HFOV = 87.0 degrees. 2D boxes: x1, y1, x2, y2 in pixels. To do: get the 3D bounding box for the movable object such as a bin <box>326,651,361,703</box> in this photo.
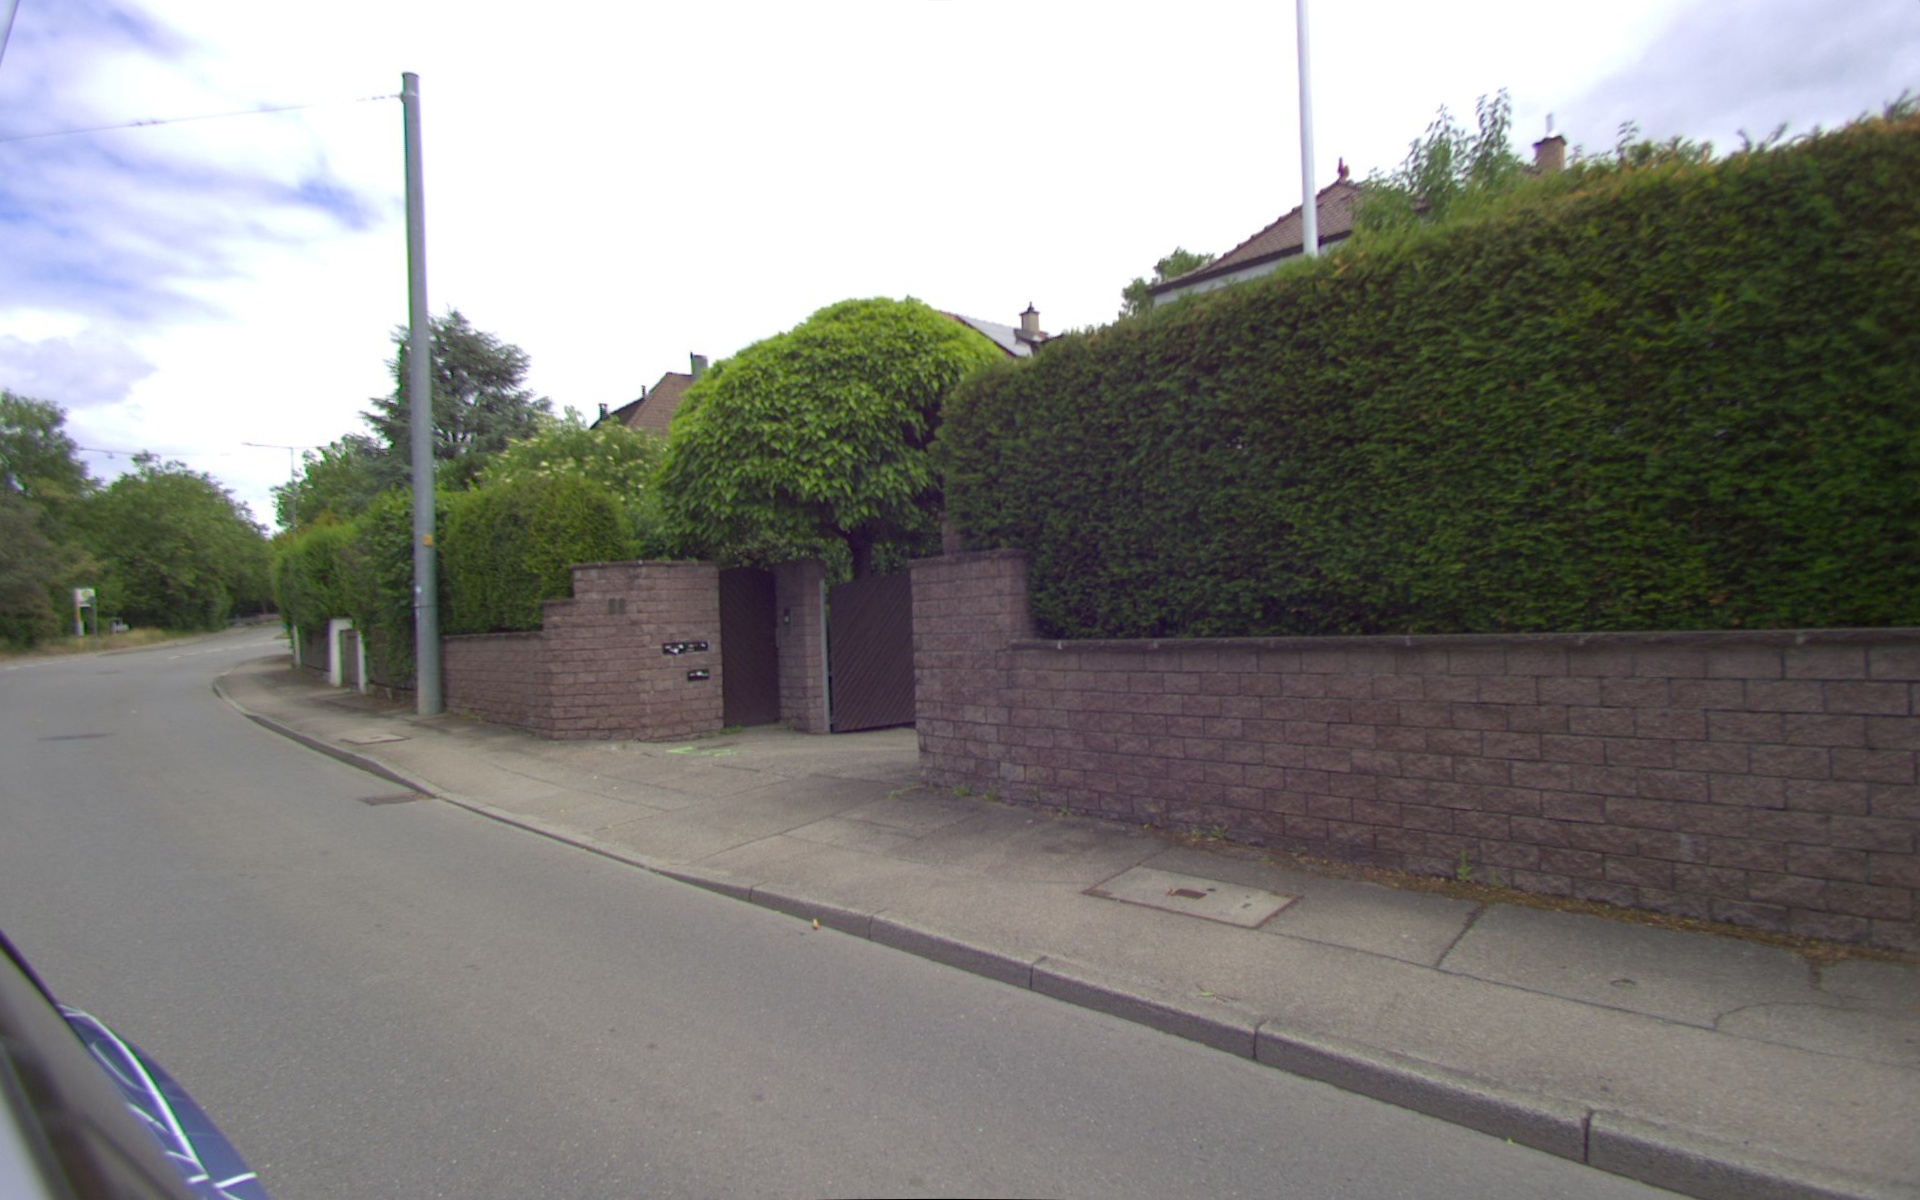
[{"bbox_3d":[-12.858,1.604,21.112,0.498,1.039,0.443,-4,-3,33],"label":"movable object such as a bin"}]
